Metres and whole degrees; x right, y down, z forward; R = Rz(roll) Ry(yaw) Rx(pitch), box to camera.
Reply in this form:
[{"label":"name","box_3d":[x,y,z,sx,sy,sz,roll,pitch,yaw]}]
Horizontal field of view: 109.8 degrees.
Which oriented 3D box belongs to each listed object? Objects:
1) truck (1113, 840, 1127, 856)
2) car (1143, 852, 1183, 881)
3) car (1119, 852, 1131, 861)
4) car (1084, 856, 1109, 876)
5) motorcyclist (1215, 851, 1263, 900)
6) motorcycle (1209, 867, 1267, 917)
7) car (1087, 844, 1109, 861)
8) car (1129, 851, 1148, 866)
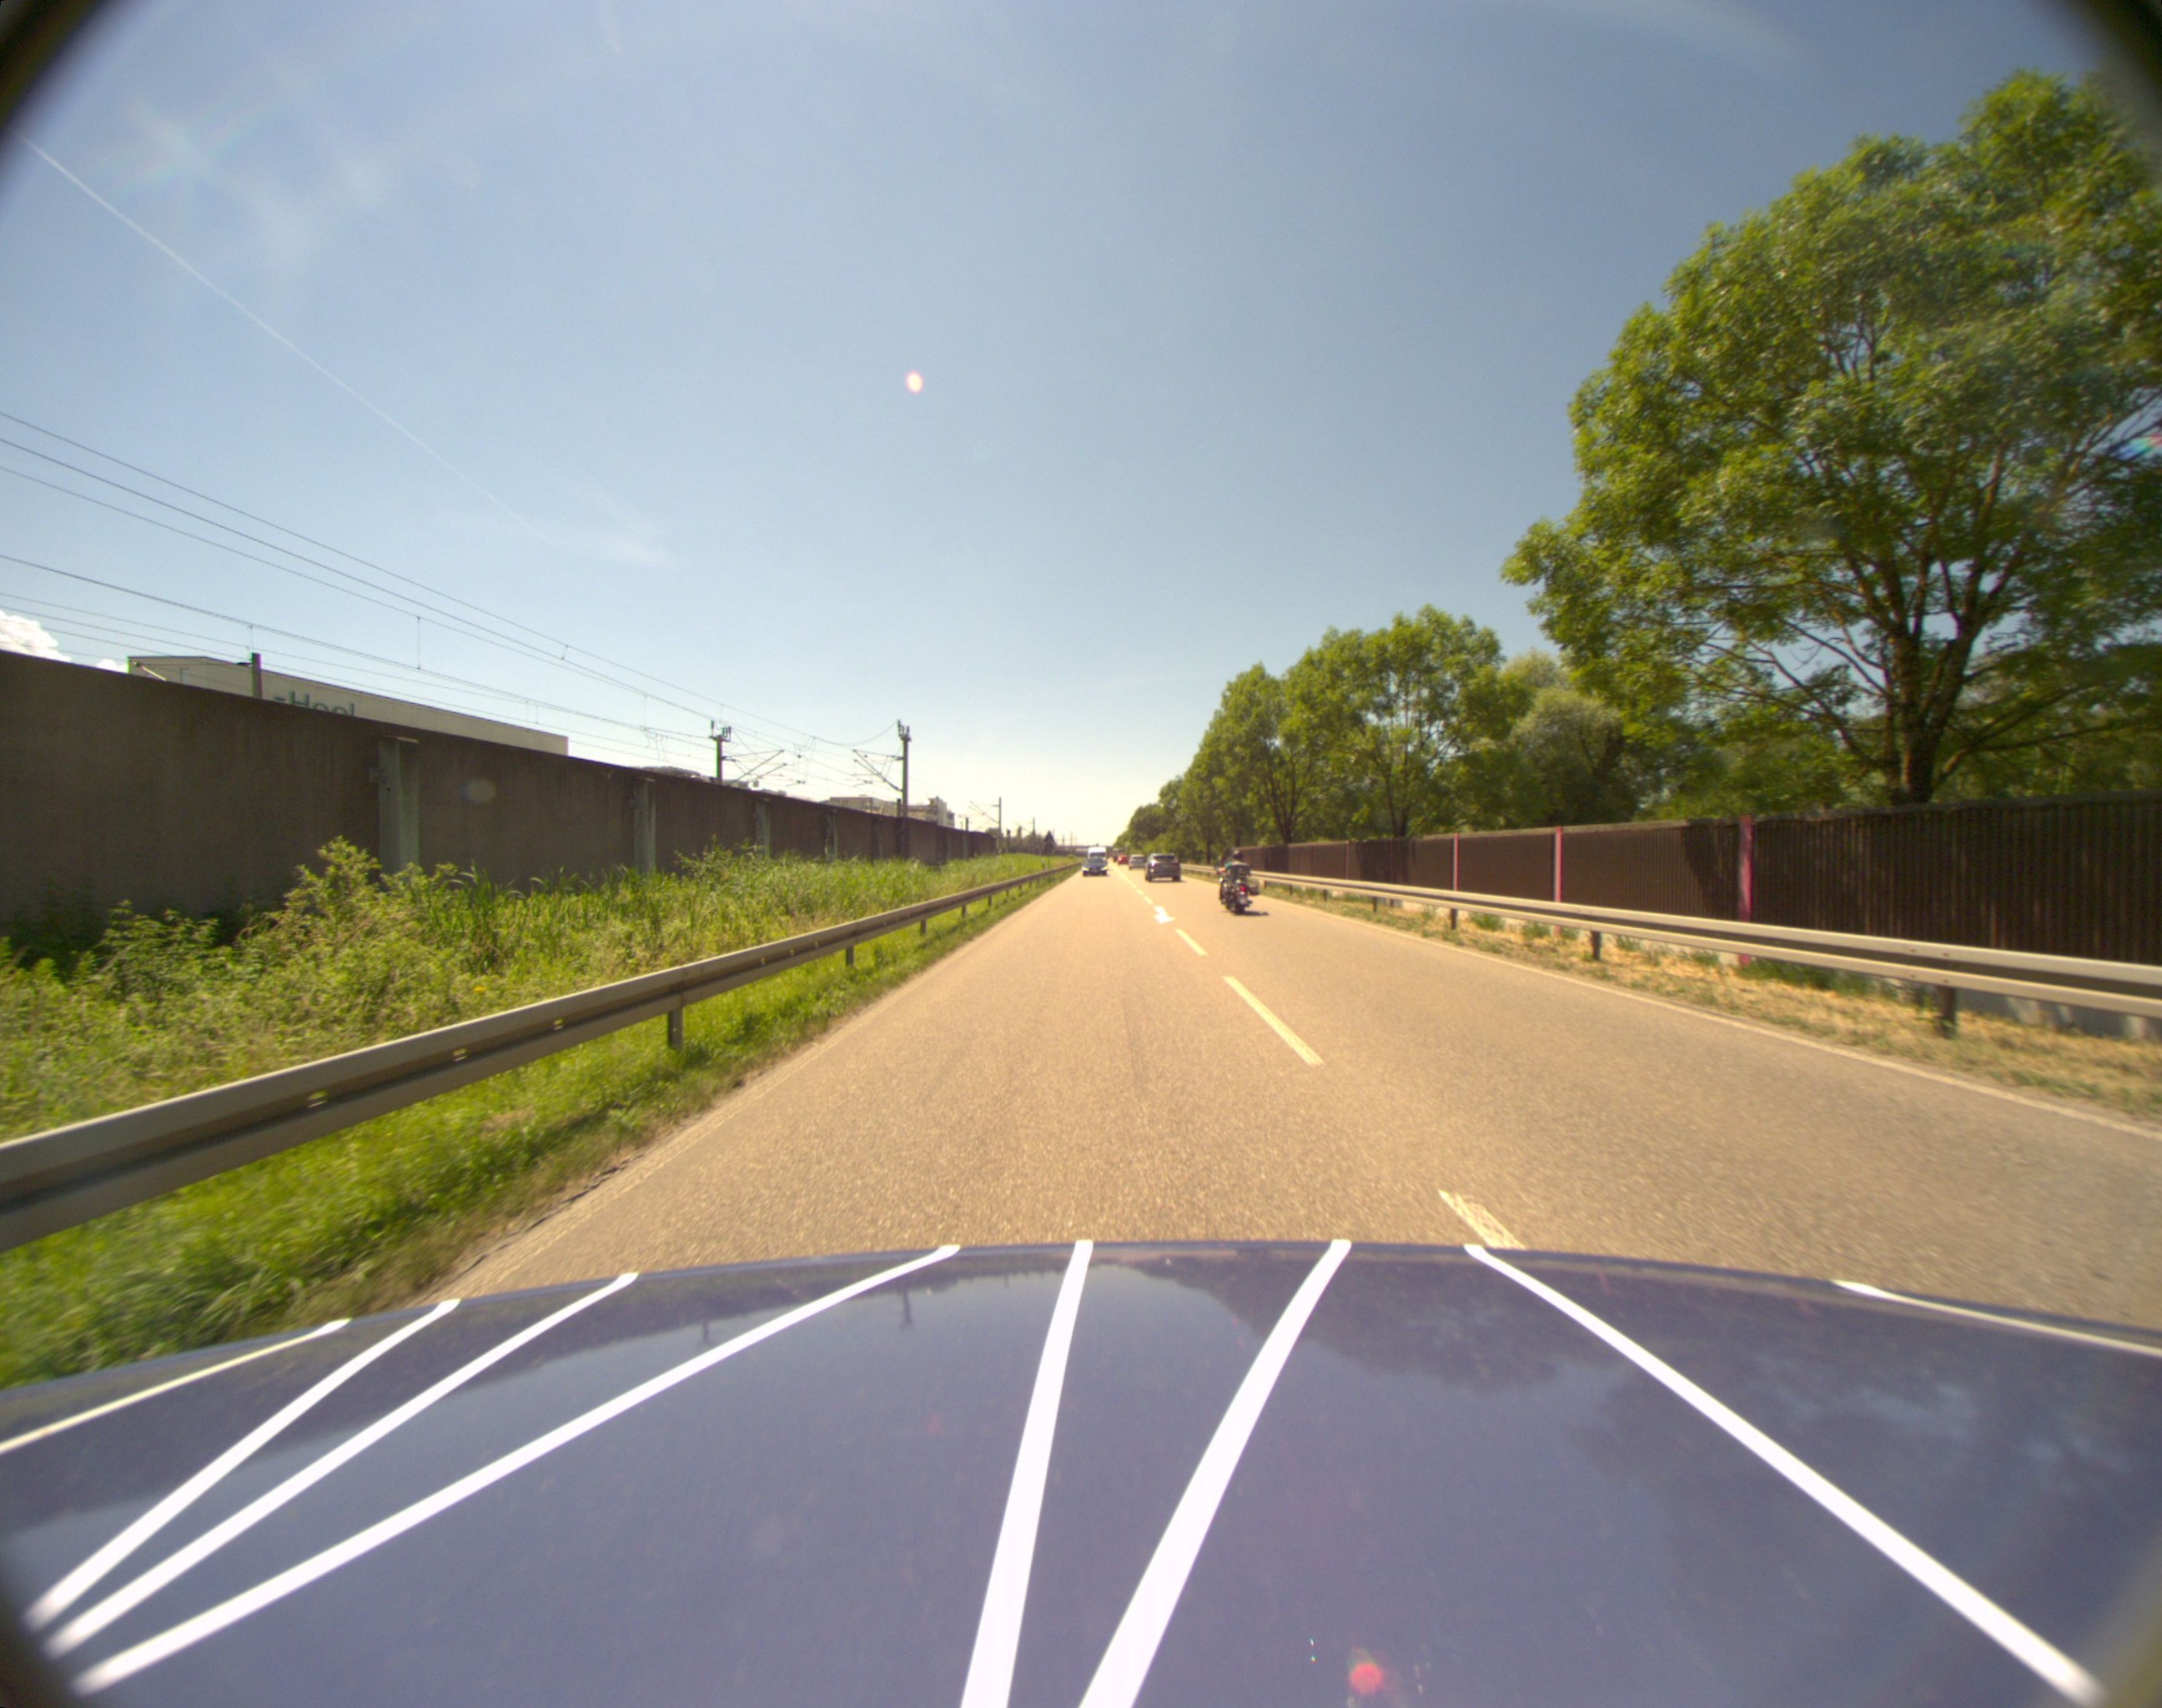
[{"label":"truck","box_3d":[8.703,-1.351,169.194,2.790,3.385,7.989,-2,0,1]},{"label":"car","box_3d":[4.559,0.685,42.645,1.794,1.516,4.390,-1,0,1]},{"label":"car","box_3d":[6.709,0.388,115.925,1.793,1.413,4.000,-1,0,2]},{"label":"car","box_3d":[1.147,0.842,55.691,1.758,1.313,4.000,-2,0,2]},{"label":"motorcyclist","box_3d":[3.902,0.524,18.852,0.940,1.124,0.927,-4,1,1]},{"label":"motorcycle","box_3d":[3.878,0.910,18.965,0.956,1.102,2.336,-2,0,1]},{"label":"car","box_3d":[1.844,-0.179,81.306,2.161,1.701,4.493,-2,0,2]},{"label":"car","box_3d":[5.942,0.469,78.449,1.793,1.516,4.391,-1,0,4]}]
